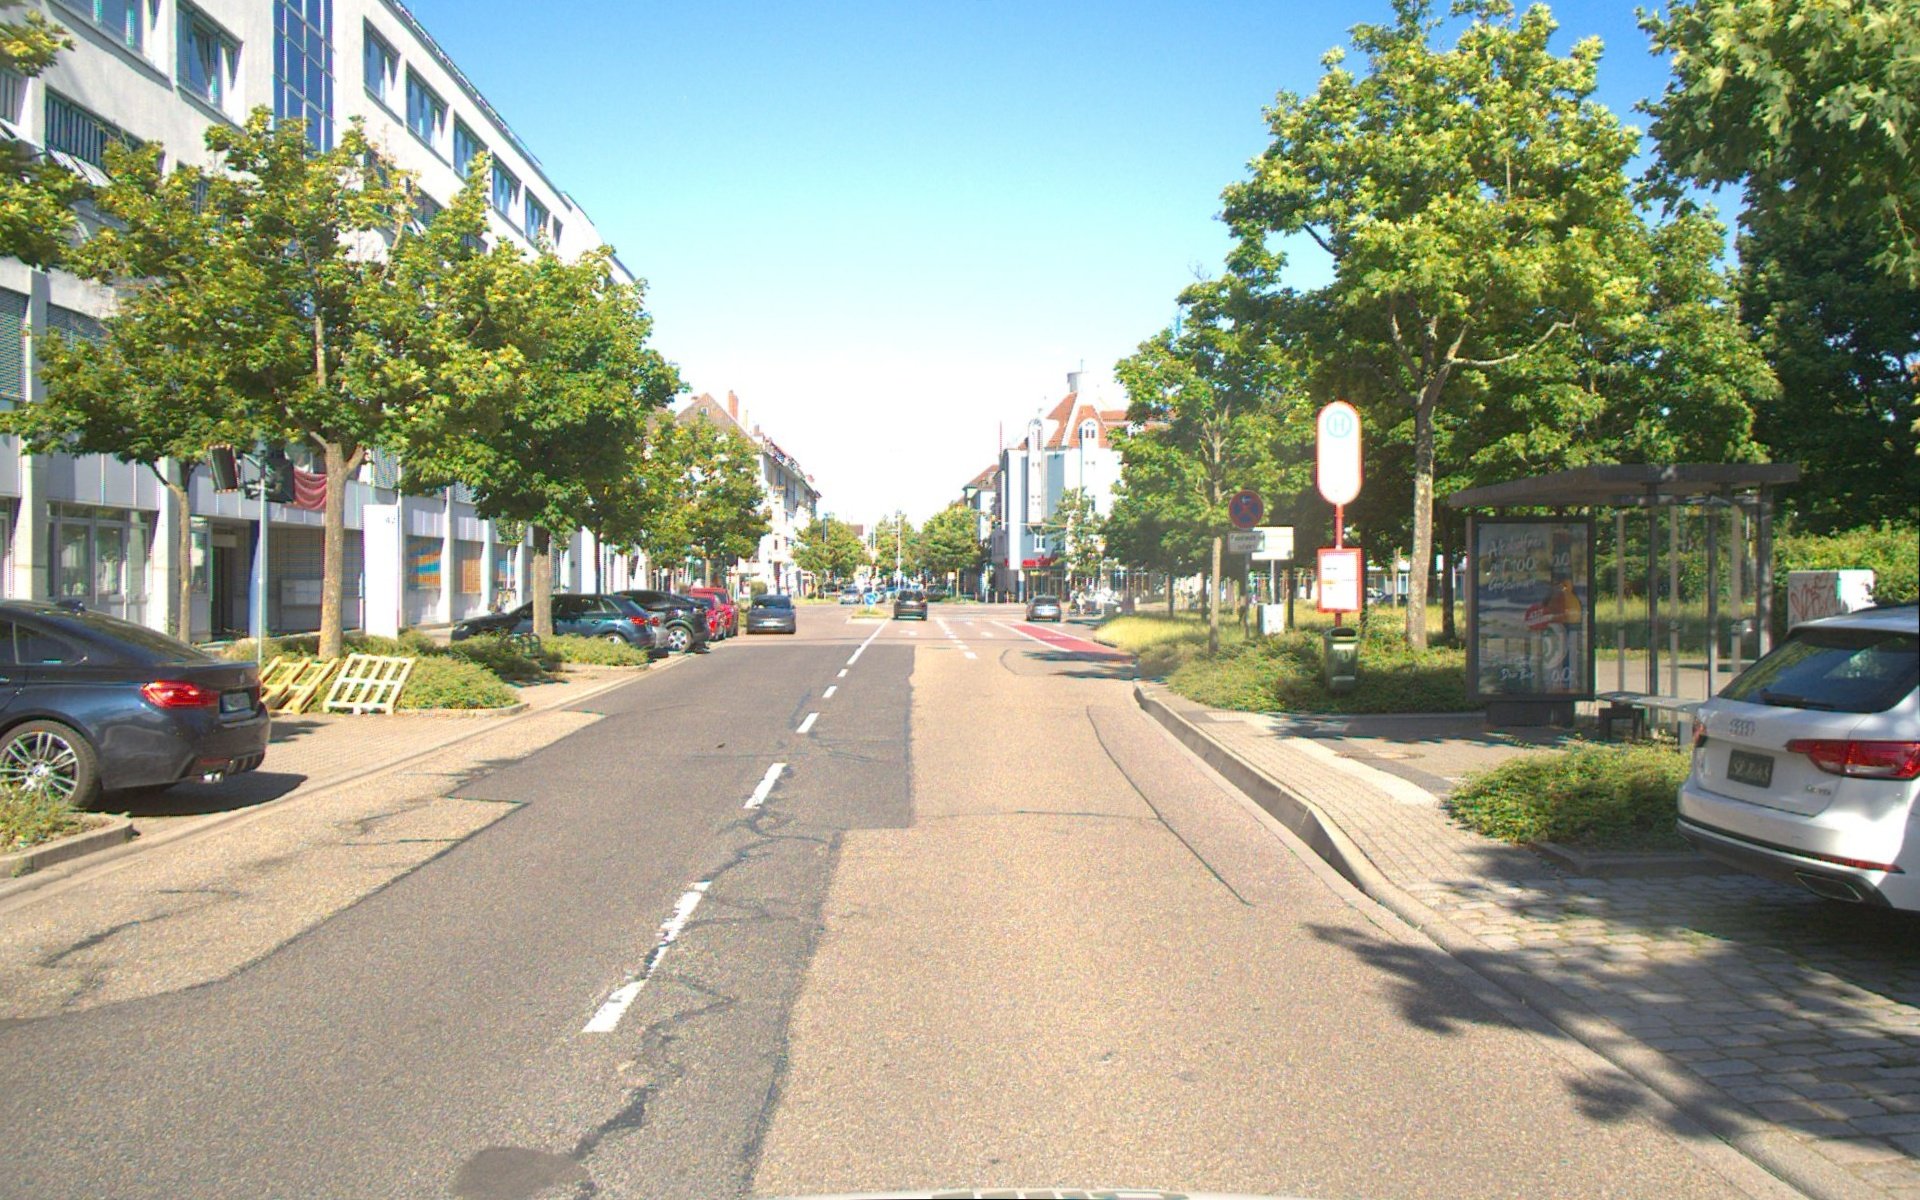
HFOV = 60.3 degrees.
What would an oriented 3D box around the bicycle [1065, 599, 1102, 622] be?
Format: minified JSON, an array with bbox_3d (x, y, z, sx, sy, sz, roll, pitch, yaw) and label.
[{"bbox_3d":[7.730,0.650,103.367,2.215,1.371,0.791,0,0,33],"label":"bicycle"}]

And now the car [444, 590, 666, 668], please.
[{"bbox_3d":[-8.523,0.599,35.079,4.299,1.457,1.692,2,0,-5],"label":"car"}]

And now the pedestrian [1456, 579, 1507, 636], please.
[{"bbox_3d":[11.738,0.164,37.239,0.830,1.238,0.726,-2,0,-15],"label":"pedestrian"}]

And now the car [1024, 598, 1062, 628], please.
[{"bbox_3d":[4.736,0.703,94.627,1.655,1.605,3.868,2,0,-5],"label":"car"}]

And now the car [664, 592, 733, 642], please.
[{"bbox_3d":[-8.252,0.520,52.425,1.654,1.457,3.870,2,0,-2],"label":"car"}]

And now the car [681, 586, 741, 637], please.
[{"bbox_3d":[-8.637,0.369,57.575,1.655,1.635,4.307,2,0,-4],"label":"car"}]

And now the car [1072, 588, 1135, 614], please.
[{"bbox_3d":[9.401,0.085,108.468,3.873,1.628,1.675,-1,0,-4],"label":"car"}]

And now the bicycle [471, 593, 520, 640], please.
[{"bbox_3d":[-13.982,0.470,49.867,0.694,1.371,2.233,-1,0,3],"label":"bicycle"}]

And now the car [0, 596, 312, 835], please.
[{"bbox_3d":[-7.036,0.706,11.469,4.301,1.457,1.975,2,0,-6],"label":"car"}]

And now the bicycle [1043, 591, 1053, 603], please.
[{"bbox_3d":[7.571,-0.255,142.005,0.463,1.045,1.510,-1,0,-14],"label":"bicycle"}]

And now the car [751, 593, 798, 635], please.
[{"bbox_3d":[-7.061,0.511,63.380,1.655,1.494,4.543,-1,0,-5],"label":"car"}]

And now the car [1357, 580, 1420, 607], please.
[{"bbox_3d":[28.703,-0.442,110.759,3.778,1.605,1.694,2,0,2],"label":"car"}]

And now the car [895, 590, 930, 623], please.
[{"bbox_3d":[-2.583,0.325,89.698,1.719,1.656,4.475,2,0,-3],"label":"car"}]

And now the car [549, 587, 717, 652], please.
[{"bbox_3d":[-8.841,0.512,44.967,4.301,1.565,1.691,2,0,-7],"label":"car"}]

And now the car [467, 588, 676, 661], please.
[{"bbox_3d":[-8.756,0.549,37.504,4.296,1.457,1.693,2,0,-1],"label":"car"}]

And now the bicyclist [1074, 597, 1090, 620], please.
[{"bbox_3d":[7.628,0.535,103.443,0.689,1.371,0.791,-1,0,33],"label":"bicyclist"}]

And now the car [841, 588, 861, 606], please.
[{"bbox_3d":[-10.443,-0.304,158.522,1.718,1.583,3.730,2,0,-1],"label":"car"}]

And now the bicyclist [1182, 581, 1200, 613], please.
[{"bbox_3d":[14.637,-0.193,104.831,0.777,1.993,1.007,-1,0,35],"label":"bicyclist"}]

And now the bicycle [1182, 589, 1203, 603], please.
[{"bbox_3d":[20.867,-0.368,148.487,1.828,1.203,0.561,-1,0,-7],"label":"bicycle"}]

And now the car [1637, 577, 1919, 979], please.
[{"bbox_3d":[5.497,0.621,7.200,4.313,1.488,1.895,-1,0,-2],"label":"car"}]

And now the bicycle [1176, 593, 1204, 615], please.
[{"bbox_3d":[14.566,0.233,104.715,0.777,1.371,2.255,-1,0,35],"label":"bicycle"}]

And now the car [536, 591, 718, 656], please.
[{"bbox_3d":[-8.390,0.579,41.934,4.300,1.457,1.692,2,0,-5],"label":"car"}]
